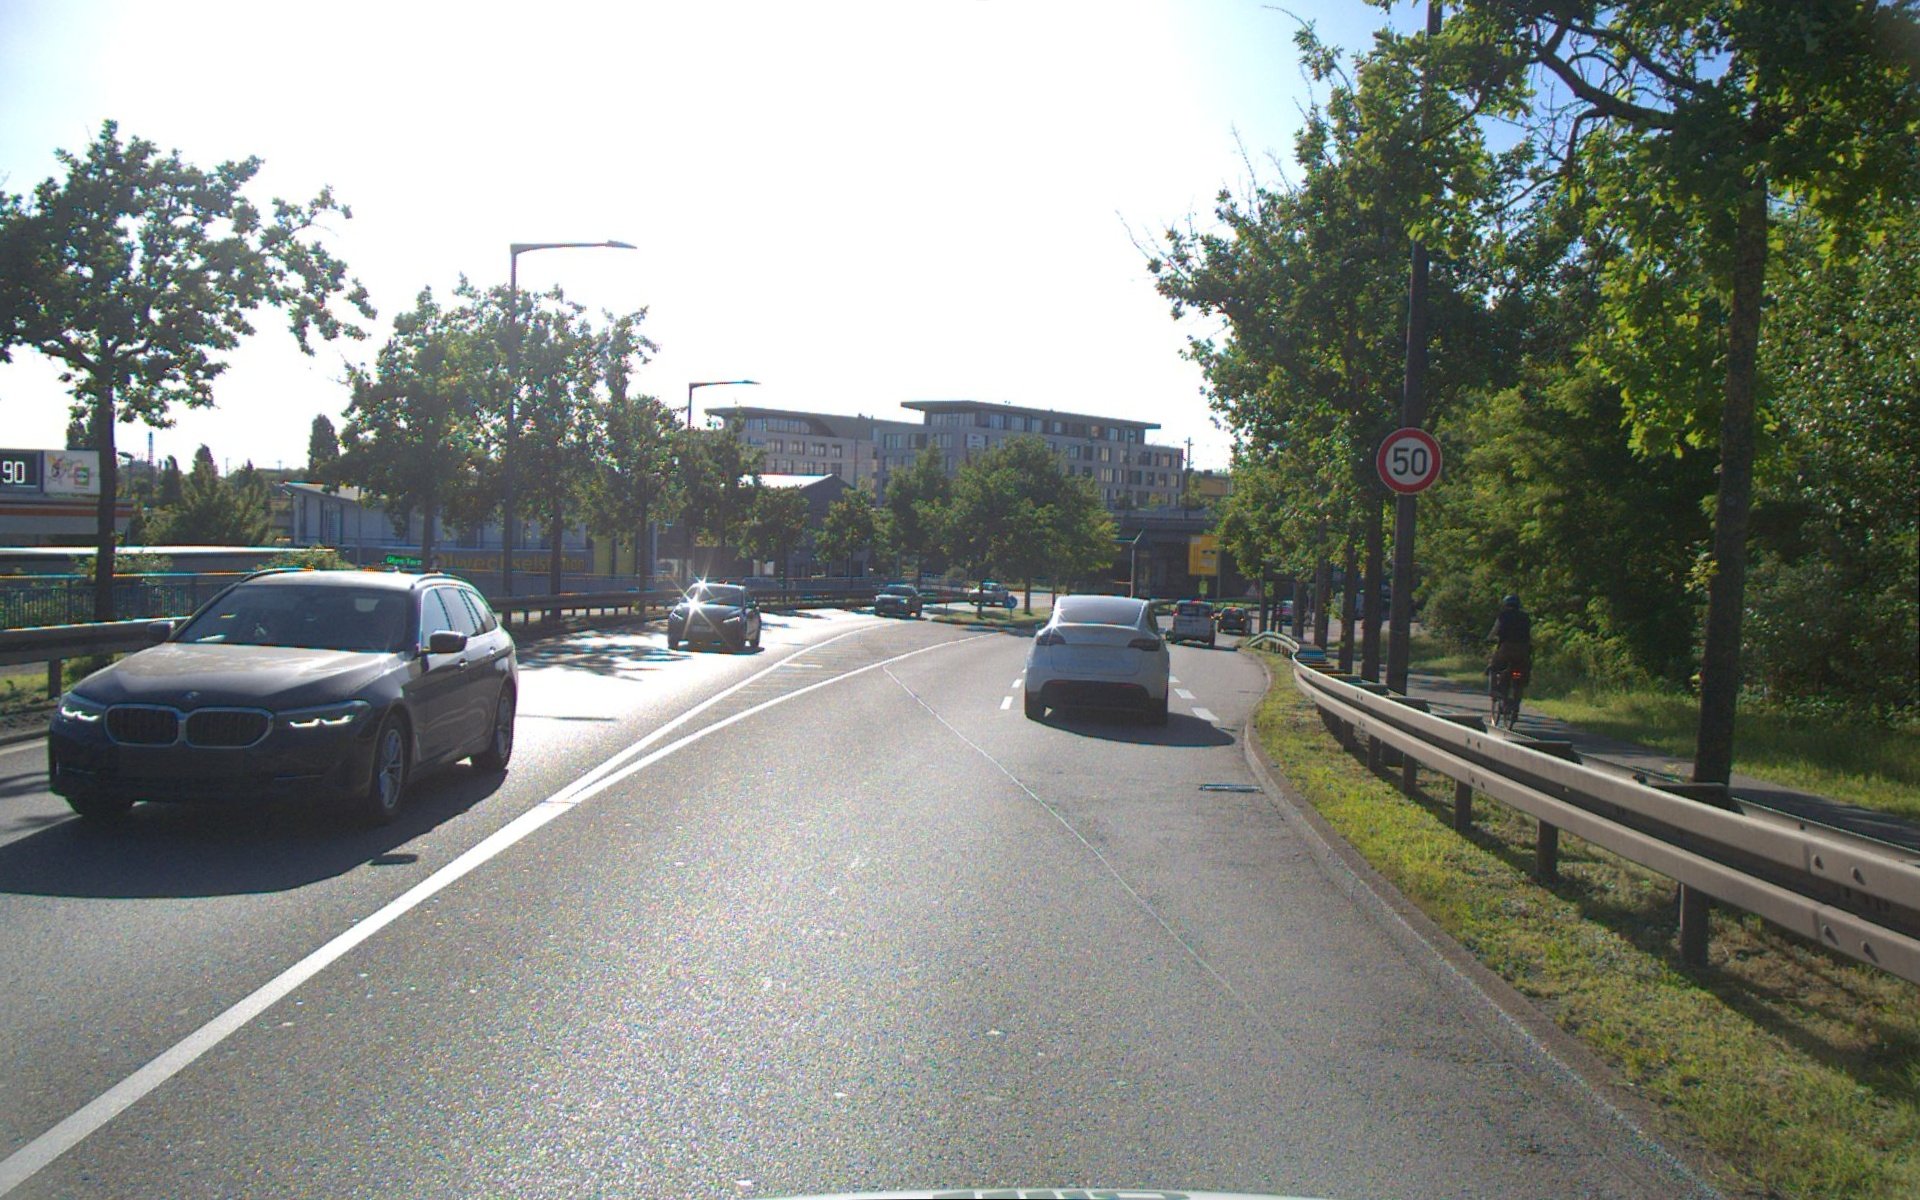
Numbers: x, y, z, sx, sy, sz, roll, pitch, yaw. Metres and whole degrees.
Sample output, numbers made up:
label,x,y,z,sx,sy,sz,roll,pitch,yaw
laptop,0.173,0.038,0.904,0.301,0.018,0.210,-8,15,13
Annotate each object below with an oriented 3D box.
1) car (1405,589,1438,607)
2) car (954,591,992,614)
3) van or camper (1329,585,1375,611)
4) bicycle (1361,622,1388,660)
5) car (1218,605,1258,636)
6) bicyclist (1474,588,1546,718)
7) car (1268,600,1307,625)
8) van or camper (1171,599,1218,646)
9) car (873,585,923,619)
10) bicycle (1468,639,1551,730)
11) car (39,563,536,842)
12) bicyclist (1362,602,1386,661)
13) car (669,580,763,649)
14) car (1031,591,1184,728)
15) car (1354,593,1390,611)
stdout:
label,x,y,z,sx,sy,sz,roll,pitch,yaw
car,41.426,-0.204,148.451,1.679,1.548,3.729,4,3,35
car,0.896,0.162,109.556,1.693,1.409,4.500,4,1,10
van or camper,30.133,-0.165,126.949,1.795,1.821,4.528,5,3,35
bicycle,13.121,1.287,52.329,0.680,1.114,2.119,1,1,18
car,15.823,1.158,93.945,1.571,1.459,3.680,4,3,19
bicyclist,7.013,0.659,21.117,0.692,1.606,1.005,1,0,9
car,22.068,0.809,111.431,1.728,1.501,4.289,3,2,22
van or camper,10.308,0.943,72.667,1.917,1.916,4.884,2,1,8
car,-3.045,0.086,81.981,1.725,1.514,4.280,4,0,7
bicycle,7.022,1.062,21.203,0.686,1.093,1.922,1,-2,9
car,-4.250,0.543,11.280,1.773,1.523,4.367,1,1,-3
bicyclist,13.099,0.987,52.336,0.661,1.807,0.949,1,0,18
car,-5.602,0.303,38.349,1.630,1.471,3.849,2,0,-1
car,2.026,0.723,22.778,1.873,1.669,4.413,1,1,5
car,36.566,0.162,146.800,1.681,1.548,3.726,4,3,37
